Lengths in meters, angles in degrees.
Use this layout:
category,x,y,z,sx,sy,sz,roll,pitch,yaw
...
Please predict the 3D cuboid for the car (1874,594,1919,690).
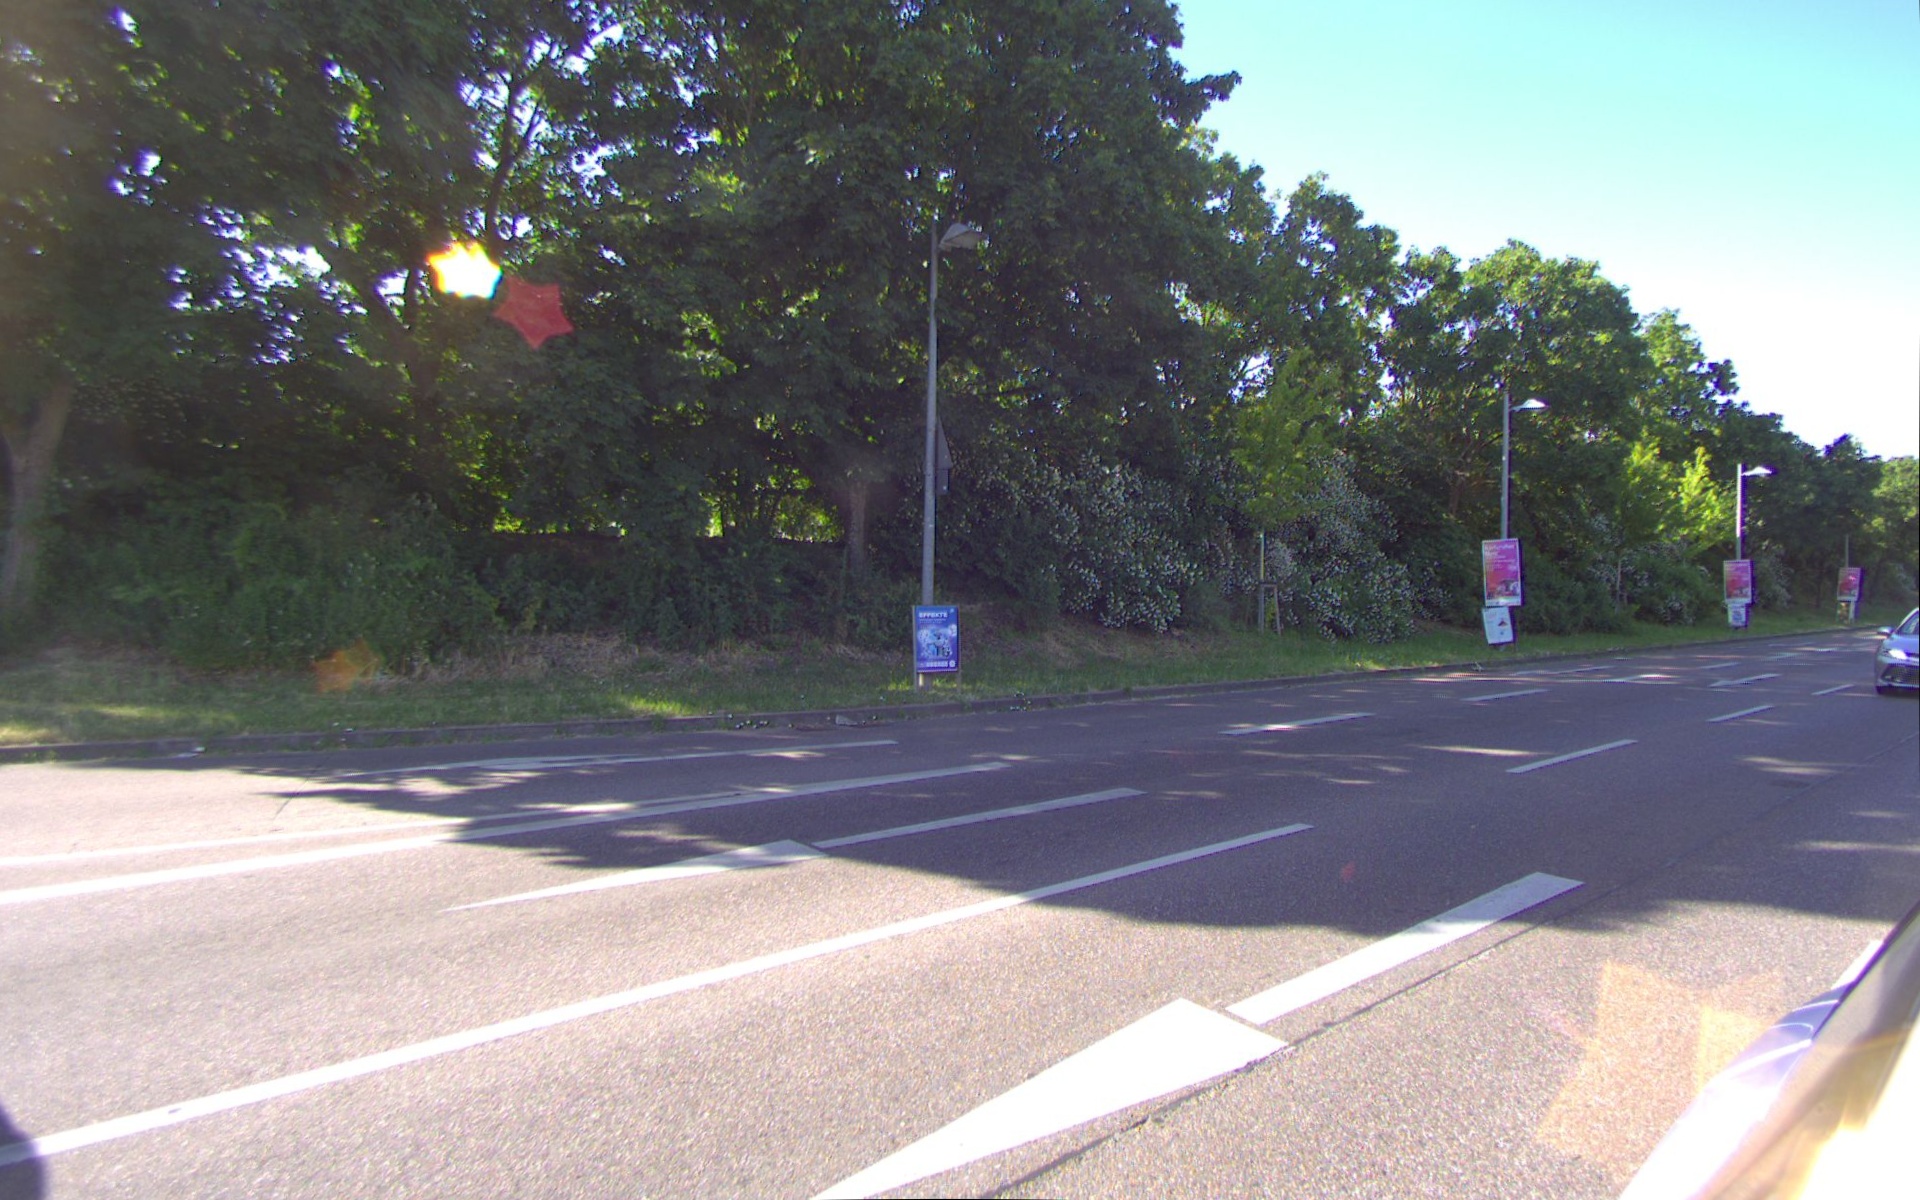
category,x,y,z,sx,sy,sz,roll,pitch,yaw
car,16.649,0.649,16.566,4.512,1.454,1.875,0,1,-40
